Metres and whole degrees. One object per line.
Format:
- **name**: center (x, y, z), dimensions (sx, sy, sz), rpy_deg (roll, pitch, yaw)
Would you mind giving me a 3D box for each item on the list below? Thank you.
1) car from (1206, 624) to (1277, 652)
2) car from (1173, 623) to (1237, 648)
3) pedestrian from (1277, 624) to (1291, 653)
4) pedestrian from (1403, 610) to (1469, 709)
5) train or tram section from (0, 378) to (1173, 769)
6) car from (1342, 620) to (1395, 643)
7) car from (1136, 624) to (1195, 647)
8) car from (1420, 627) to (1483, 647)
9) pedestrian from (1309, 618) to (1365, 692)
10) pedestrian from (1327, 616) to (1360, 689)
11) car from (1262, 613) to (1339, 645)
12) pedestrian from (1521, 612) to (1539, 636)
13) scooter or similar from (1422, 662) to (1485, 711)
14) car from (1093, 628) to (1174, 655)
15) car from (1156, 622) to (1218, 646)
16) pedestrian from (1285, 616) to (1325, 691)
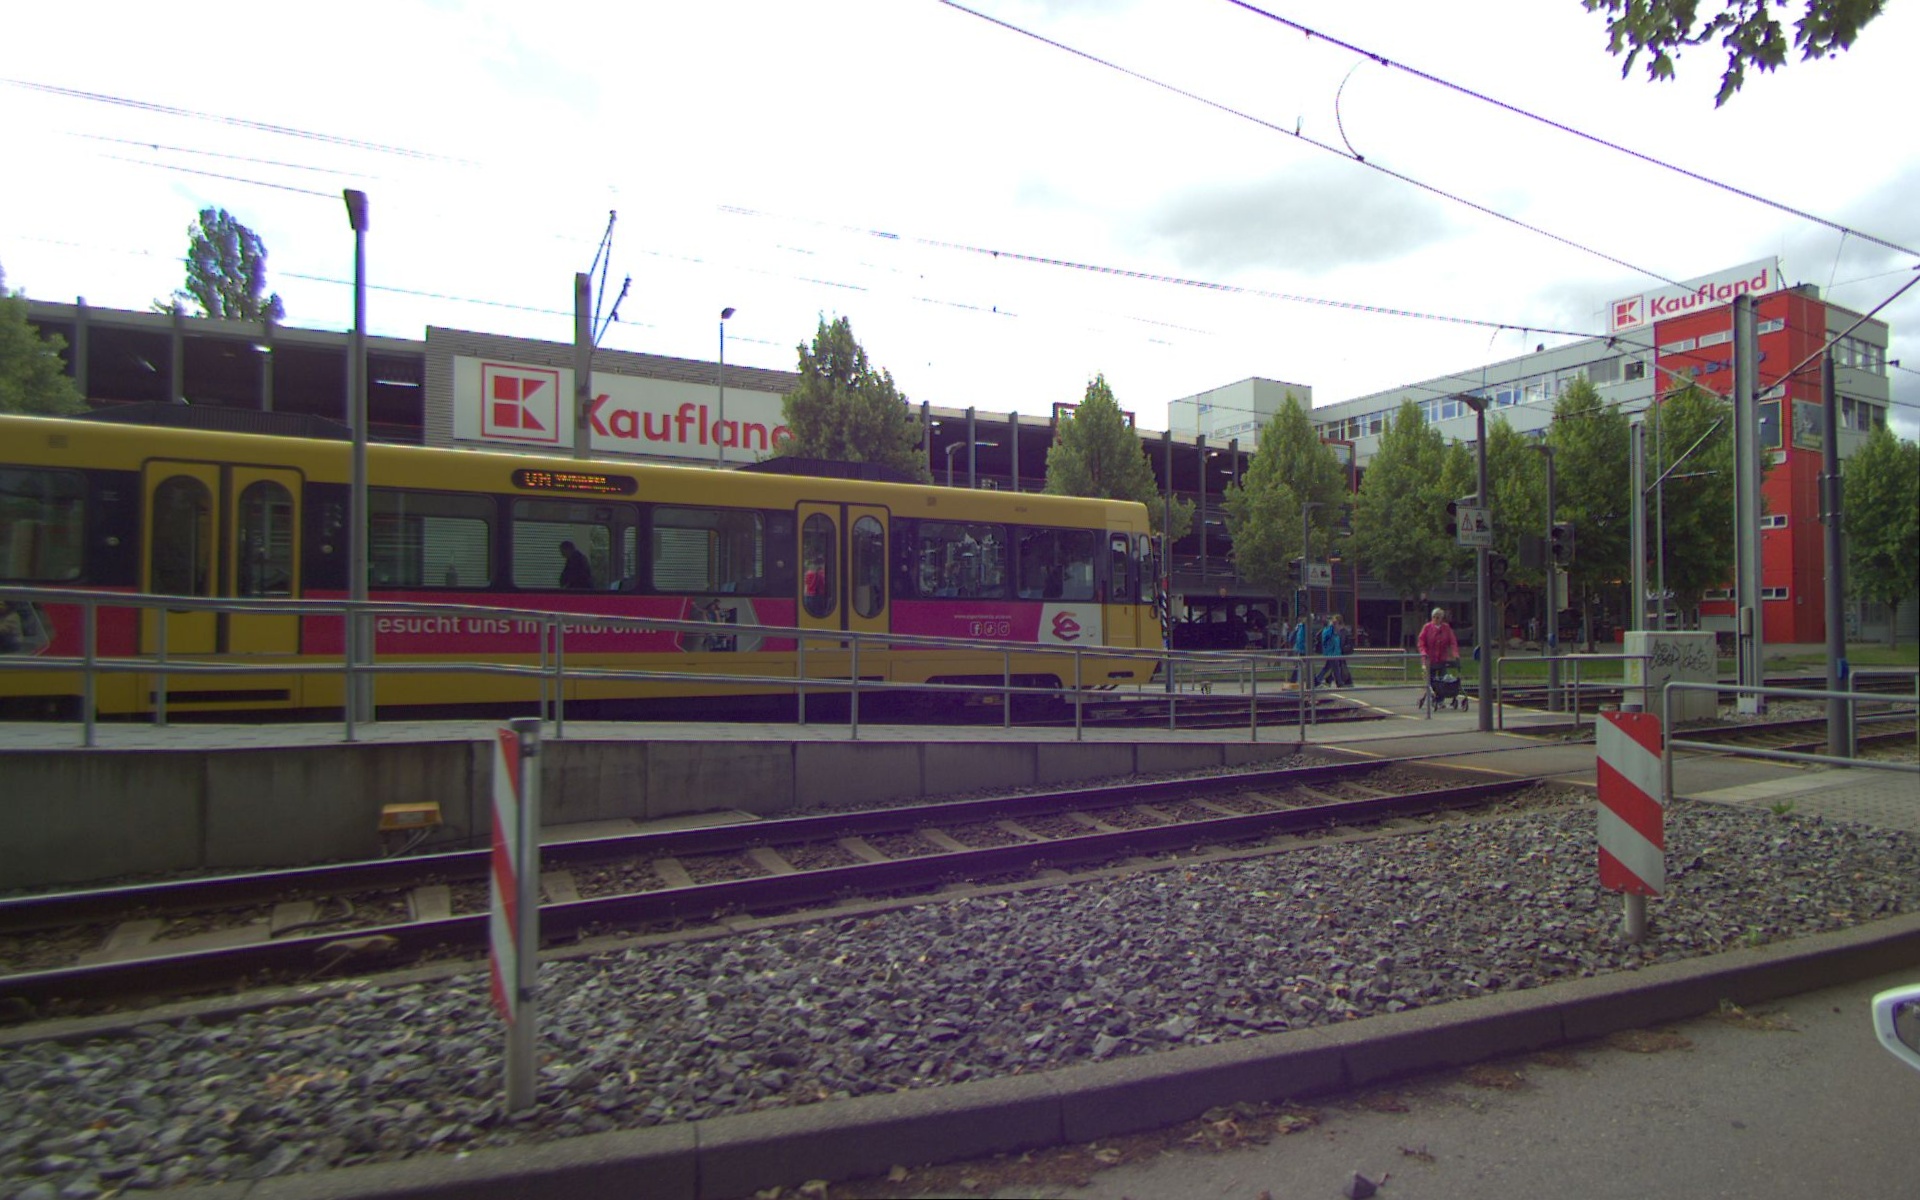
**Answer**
- **car**: center (15.319, 2.039, 54.598), dimensions (3.631, 1.495, 1.666), rpy_deg (1, -1, -30)
- **car**: center (14.850, 2.150, 60.801), dimensions (3.631, 1.495, 1.666), rpy_deg (1, -2, -30)
- **pedestrian**: center (17.558, 2.078, 54.378), dimensions (0.606, 1.526, 0.419), rpy_deg (0, 0, -29)
- **pedestrian**: center (8.244, 1.031, 17.406), dimensions (0.781, 1.675, 0.614), rpy_deg (0, -3, -8)
- **train or tram section**: center (-5.159, -0.138, 13.827), dimensions (18.396, 3.879, 2.746), rpy_deg (1, -2, -28)
- **car**: center (29.056, 2.259, 71.403), dimensions (3.600, 1.572, 1.758), rpy_deg (1, -2, -32)
- **car**: center (13.361, 2.311, 65.256), dimensions (3.631, 1.437, 1.666), rpy_deg (1, -2, -30)
- **car**: center (31.666, 2.388, 64.723), dimensions (4.397, 1.242, 1.448), rpy_deg (1, -2, -30)
- **pedestrian**: center (8.554, 1.241, 22.803), dimensions (0.926, 1.632, 0.712), rpy_deg (0, -3, -18)
- **pedestrian**: center (9.018, 1.239, 23.611), dimensions (0.458, 1.683, 0.516), rpy_deg (0, -3, -18)
- **car**: center (20.637, 1.763, 60.873), dimensions (4.810, 1.913, 1.666), rpy_deg (1, -2, -30)
- **pedestrian**: center (40.944, 1.712, 72.152), dimensions (0.856, 1.717, 0.734), rpy_deg (1, -3, -30)
- **scooter or similar**: center (8.248, 1.440, 16.816), dimensions (0.784, 0.778, 0.497), rpy_deg (0, -3, -8)
- **car**: center (8.935, 2.096, 51.691), dimensions (4.024, 1.322, 1.628), rpy_deg (1, -1, -30)
- **car**: center (14.300, 2.156, 63.277), dimensions (3.631, 1.495, 1.666), rpy_deg (1, -2, -30)
- **pedestrian**: center (8.078, 1.232, 23.547), dimensions (0.644, 1.720, 0.728), rpy_deg (1, 0, -5)
